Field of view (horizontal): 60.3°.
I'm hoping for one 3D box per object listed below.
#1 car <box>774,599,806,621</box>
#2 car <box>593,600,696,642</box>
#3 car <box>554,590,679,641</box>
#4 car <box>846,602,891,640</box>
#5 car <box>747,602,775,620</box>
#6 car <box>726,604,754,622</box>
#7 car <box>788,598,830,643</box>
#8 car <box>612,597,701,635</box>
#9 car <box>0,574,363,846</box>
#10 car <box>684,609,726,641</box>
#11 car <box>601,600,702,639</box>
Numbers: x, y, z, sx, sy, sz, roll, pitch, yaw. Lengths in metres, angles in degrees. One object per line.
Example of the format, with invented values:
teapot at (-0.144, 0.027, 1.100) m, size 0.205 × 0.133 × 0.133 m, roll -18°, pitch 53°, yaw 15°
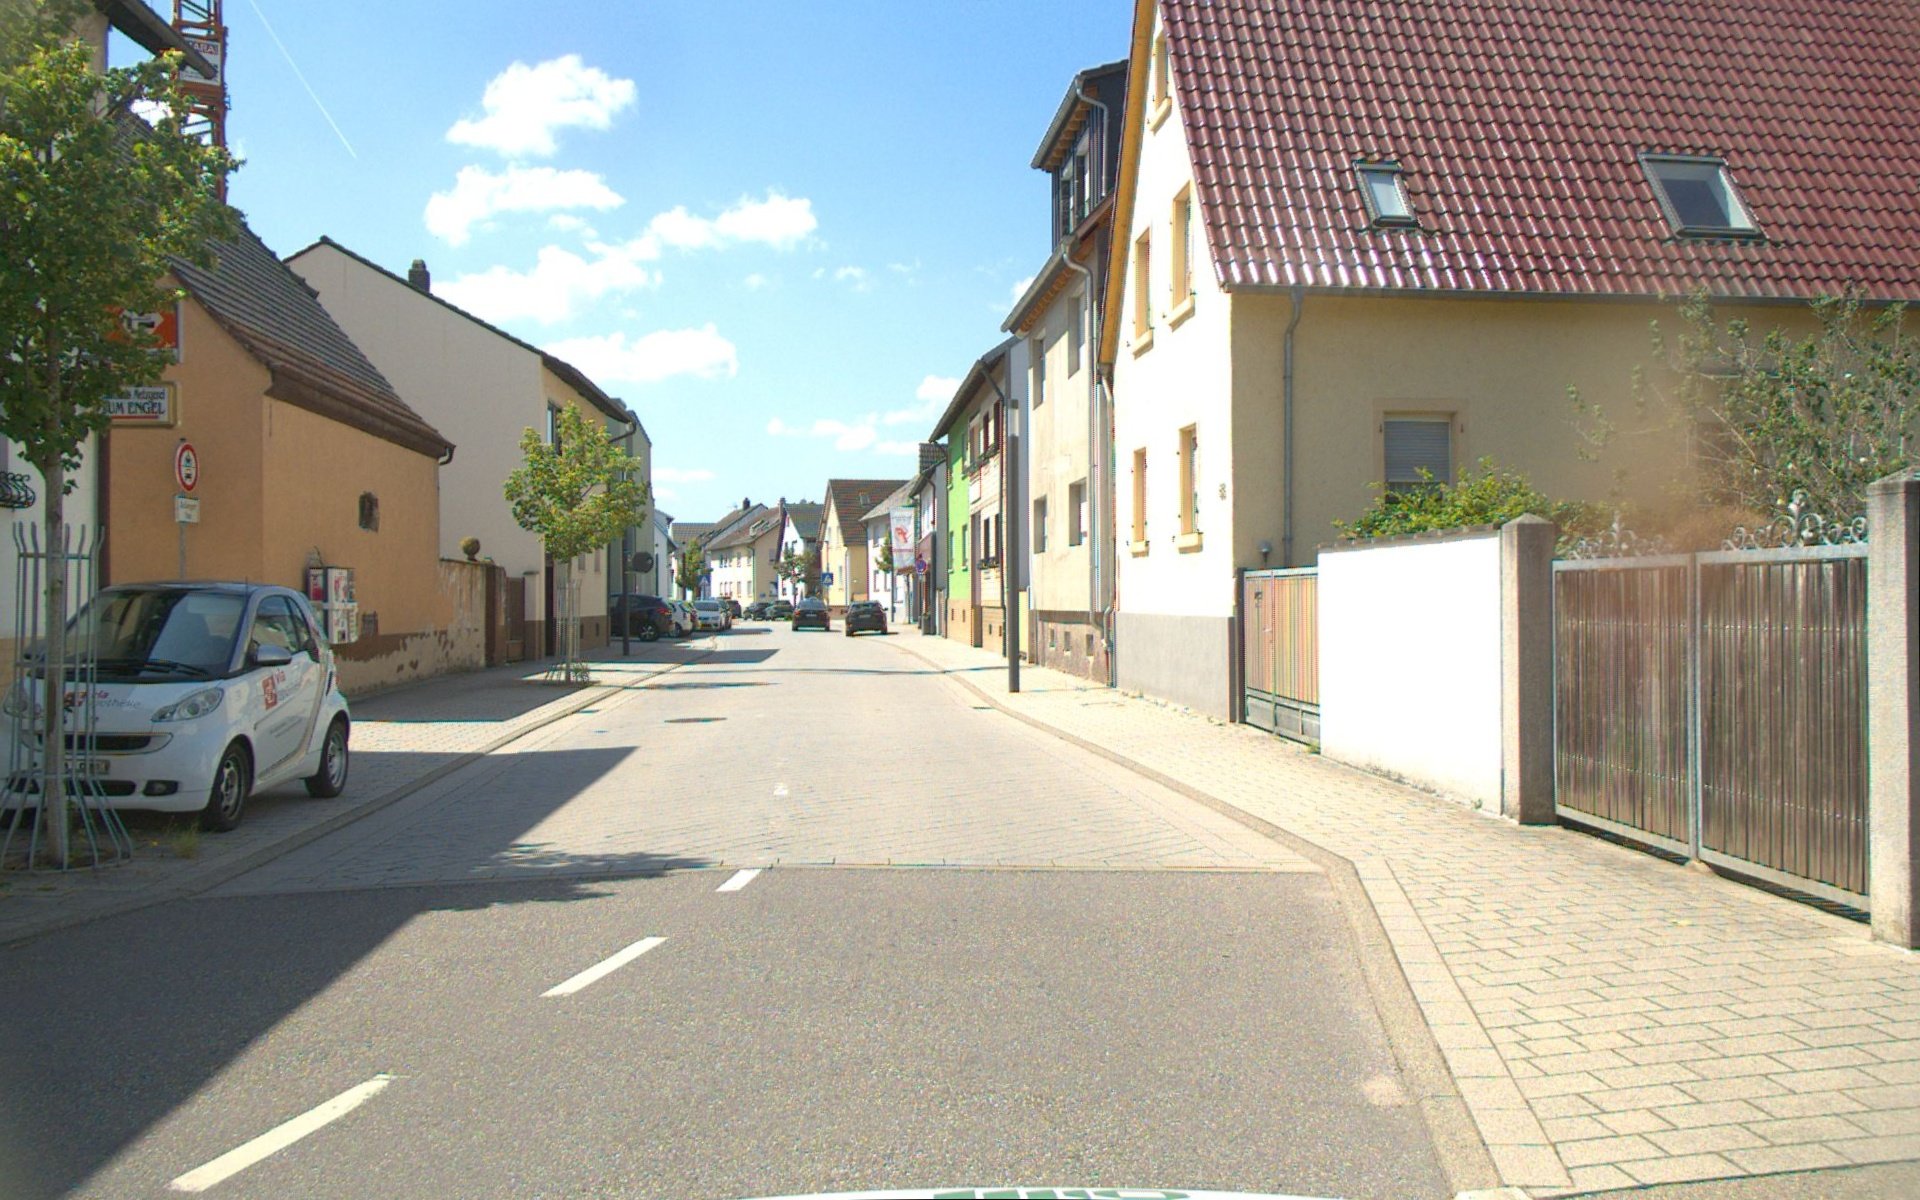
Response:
car at (-13.169, 0.764, 128.066) m, size 1.817 × 1.590 × 3.676 m, roll -1°, pitch 0°, yaw -17°
car at (-12.726, 0.829, 66.936) m, size 3.823 × 1.529 × 1.749 m, roll 2°, pitch 0°, yaw -4°
car at (-12.227, 0.552, 59.119) m, size 4.137 × 1.687 × 1.782 m, roll 2°, pitch 0°, yaw -6°
car at (-3.960, 0.887, 71.916) m, size 1.821 × 1.484 × 4.583 m, roll -2°, pitch 0°, yaw -3°
car at (-16.299, 0.898, 135.279) m, size 1.683 × 1.411 × 3.689 m, roll -1°, pitch 0°, yaw -16°
car at (-19.777, 1.167, 148.569) m, size 1.847 × 1.619 × 3.982 m, roll -1°, pitch 0°, yaw -16°
car at (-7.382, 0.965, 80.886) m, size 1.955 × 2.094 × 4.369 m, roll -1°, pitch 0°, yaw -5°
car at (-13.205, 0.686, 72.154) m, size 3.619 × 1.552 × 1.671 m, roll 2°, pitch 0°, yaw -4°
car at (-5.316, 0.659, 11.277) m, size 1.541 × 1.588 × 2.820 m, roll 2°, pitch 0°, yaw -3°
car at (-12.361, 1.200, 80.400) m, size 1.723 × 1.435 × 3.874 m, roll 1°, pitch 0°, yaw -5°
car at (-12.886, 0.811, 69.263) m, size 3.909 × 1.467 × 1.689 m, roll 2°, pitch 0°, yaw -5°
